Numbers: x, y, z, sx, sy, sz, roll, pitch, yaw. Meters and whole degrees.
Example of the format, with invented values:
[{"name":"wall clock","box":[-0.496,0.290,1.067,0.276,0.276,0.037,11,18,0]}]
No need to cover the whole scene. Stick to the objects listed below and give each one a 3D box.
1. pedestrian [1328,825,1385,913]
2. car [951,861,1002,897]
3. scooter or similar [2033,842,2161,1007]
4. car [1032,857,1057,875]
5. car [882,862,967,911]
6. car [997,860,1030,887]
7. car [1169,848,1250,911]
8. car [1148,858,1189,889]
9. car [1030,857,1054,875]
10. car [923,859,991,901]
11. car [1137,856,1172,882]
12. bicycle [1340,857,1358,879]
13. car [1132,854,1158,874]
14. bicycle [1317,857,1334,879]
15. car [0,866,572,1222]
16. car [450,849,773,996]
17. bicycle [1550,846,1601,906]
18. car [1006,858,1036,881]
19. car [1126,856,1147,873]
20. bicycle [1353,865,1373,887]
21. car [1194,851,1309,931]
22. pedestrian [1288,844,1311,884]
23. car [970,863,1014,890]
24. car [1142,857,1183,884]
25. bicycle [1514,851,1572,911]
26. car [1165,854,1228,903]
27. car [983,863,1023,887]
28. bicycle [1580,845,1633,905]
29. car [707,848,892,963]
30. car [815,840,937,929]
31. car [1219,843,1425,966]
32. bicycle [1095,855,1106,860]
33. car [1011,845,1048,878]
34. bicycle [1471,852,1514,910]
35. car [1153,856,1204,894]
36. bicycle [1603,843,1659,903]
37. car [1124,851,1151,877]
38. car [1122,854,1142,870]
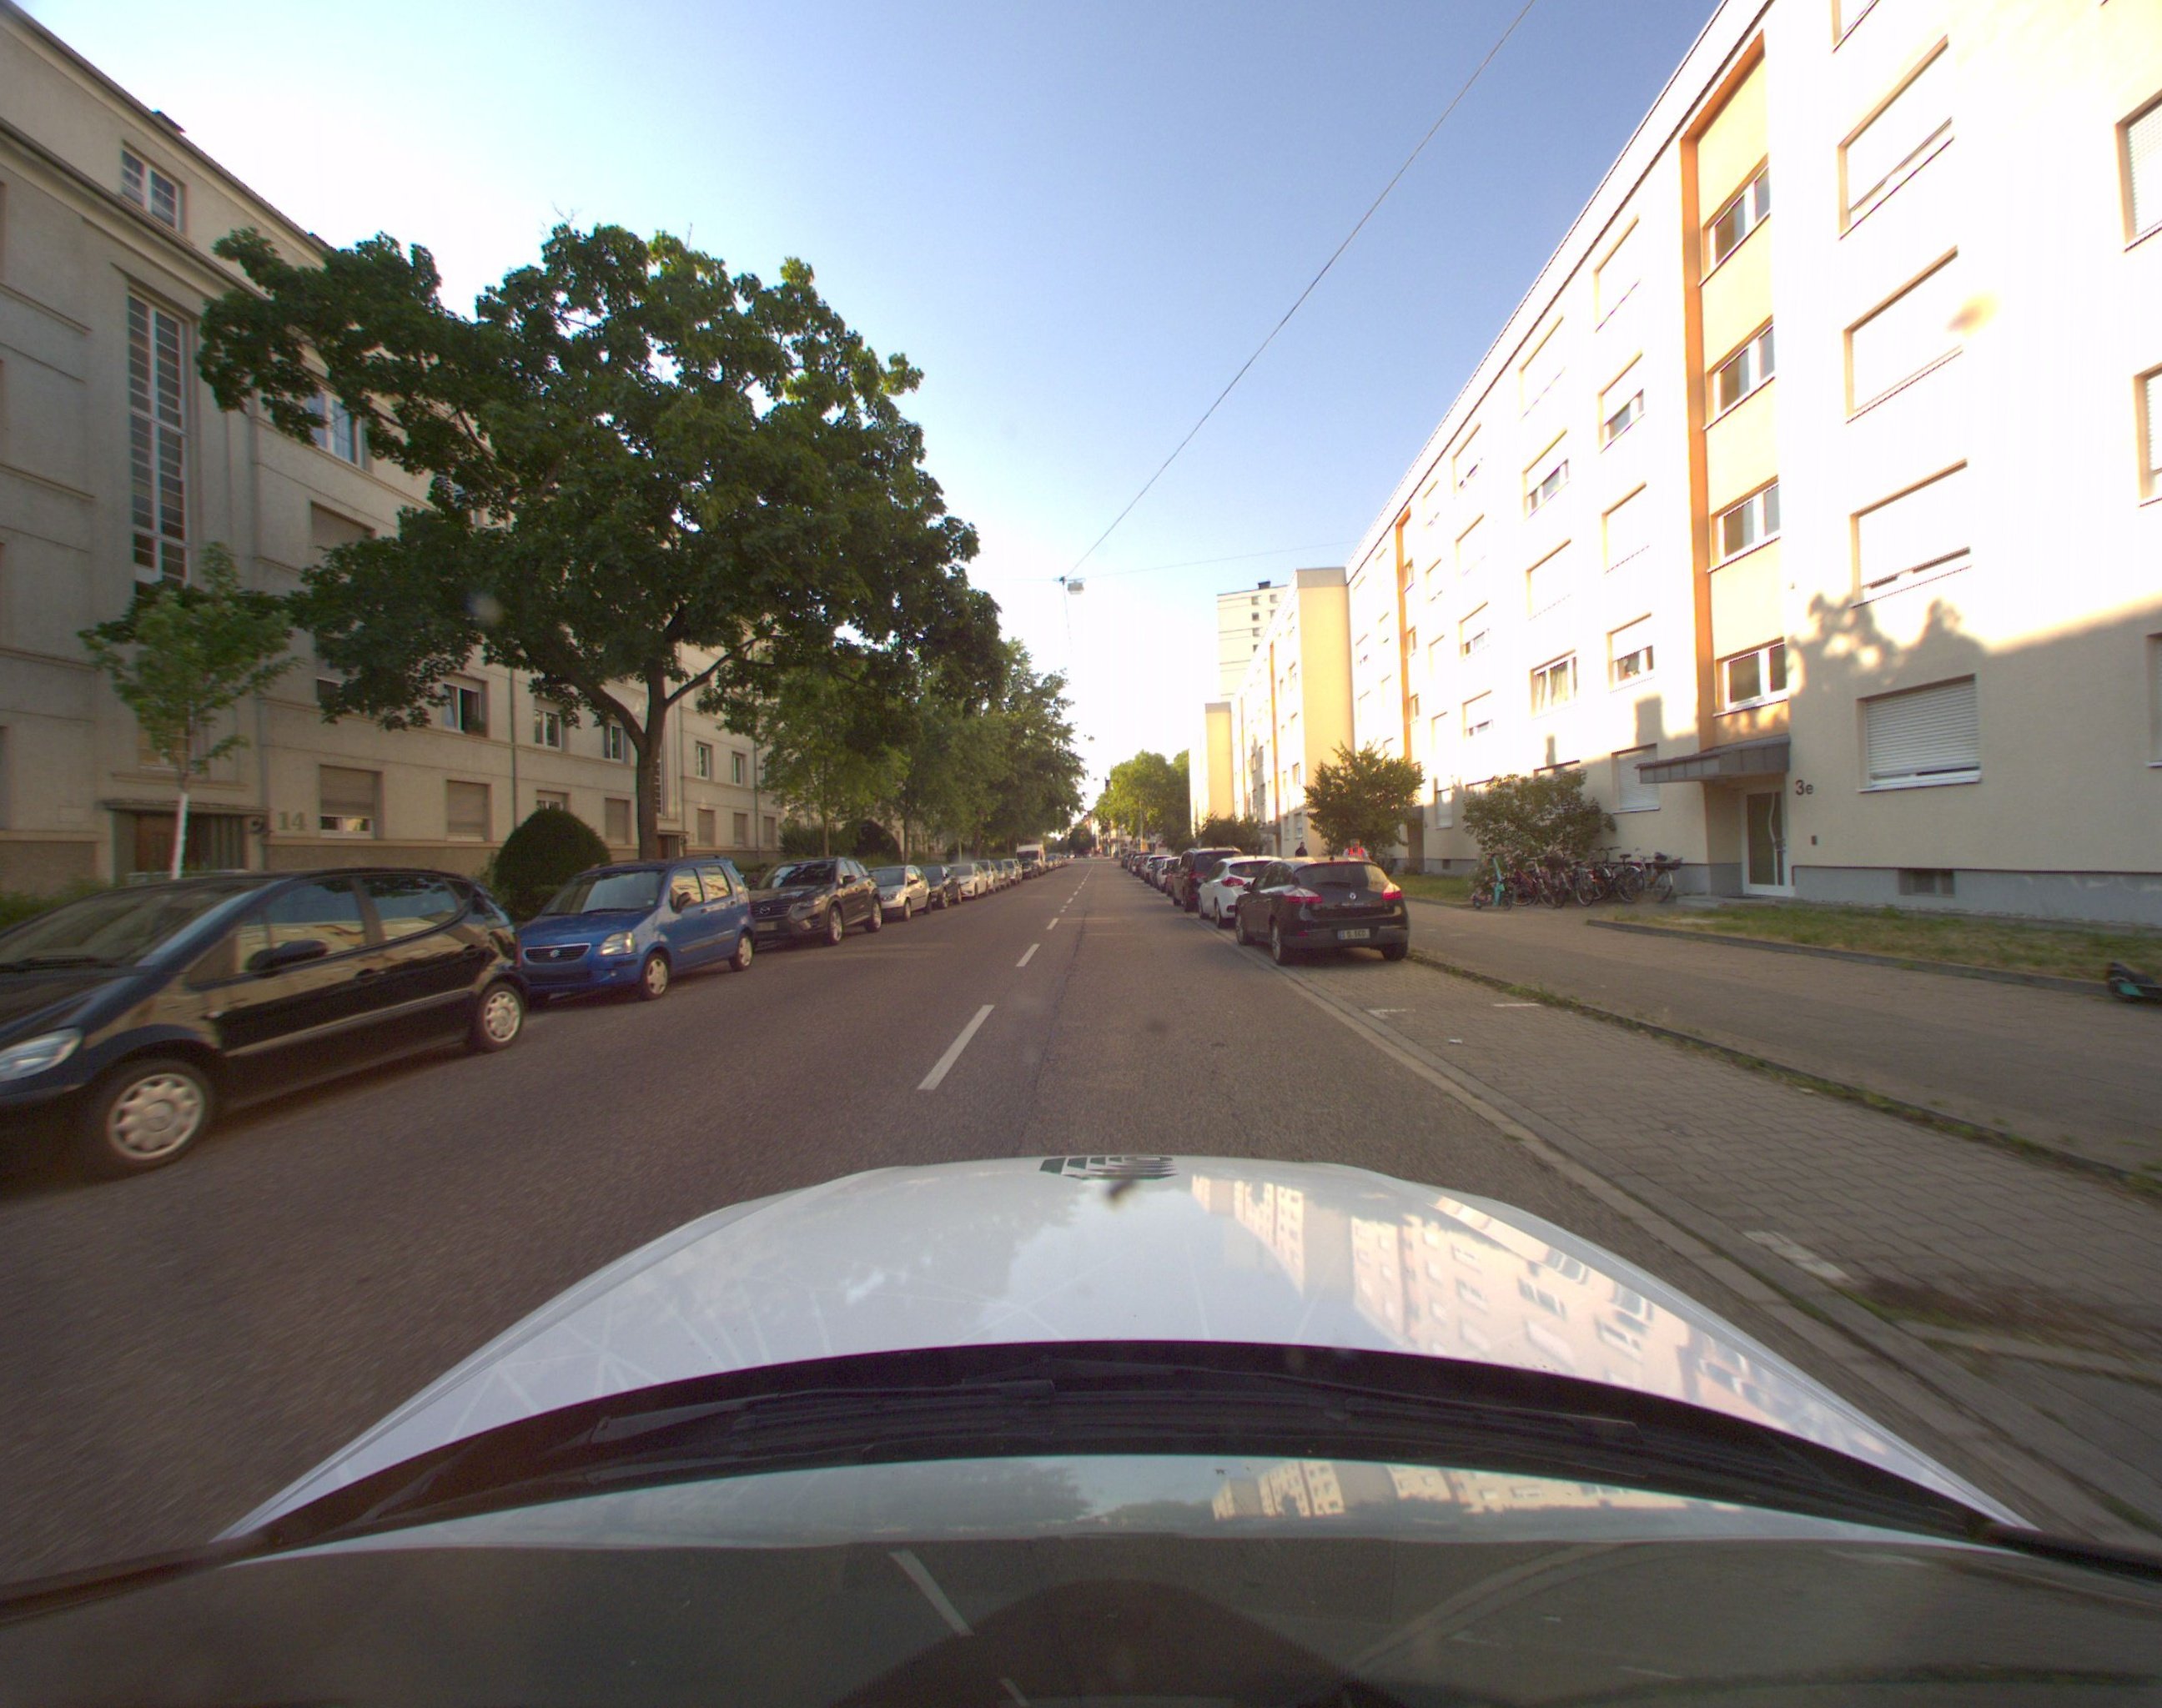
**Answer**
[{"name":"pedestrian","box":[6.155,0.335,18.254,0.885,1.890,1.279,0,-1,1]},{"name":"car","box":[-4.784,1.127,37.773,1.867,1.552,3.999,0,-1,0]},{"name":"scooter or similar","box":[7.983,0.515,6.072,0.332,1.192,1.241,0,-1,2]},{"name":"car","box":[-3.200,1.094,72.064,1.864,1.558,4.366,0,-1,1]},{"name":"car","box":[-5.068,1.017,27.045,1.867,1.434,4.802,-1,-1,0]},{"name":"car","box":[-4.327,1.236,52.424,1.701,1.574,3.262,2,-1,2]},{"name":"car","box":[3.651,0.713,23.835,1.765,1.678,4.647,0,-1,1]},{"name":"car","box":[4.327,0.962,40.780,1.655,1.438,4.314,0,-1,1]},{"name":"car","box":[-3.814,1.147,80.687,1.864,1.558,5.058,-6,0,1]},{"name":"car","box":[-4.821,1.001,32.270,1.998,1.552,4.470,0,-1,0]},{"name":"car","box":[4.733,0.982,52.944,1.955,1.605,4.280,0,-1,2]},{"name":"bicycle","box":[11.722,0.623,35.670,0.435,0.942,1.794,0,-1,7]},{"name":"car","box":[4.859,0.756,62.537,1.830,1.501,4.174,0,-1,3]},{"name":"bicycle","box":[10.736,0.620,35.794,0.435,0.942,1.794,0,-1,7]},{"name":"car","box":[-5.674,0.902,5.542,1.867,1.552,3.999,-2,-1,0]},{"name":"car","box":[-5.711,0.758,10.605,1.867,1.552,3.999,0,-1,0]},{"name":"bicycle","box":[10.309,0.453,17.015,0.332,1.192,1.241,0,-1,2]},{"name":"car","box":[-4.218,1.088,57.319,1.701,1.574,3.820,0,-1,2]},{"name":"car","box":[4.996,0.966,73.379,1.673,1.415,4.724,0,-1,1]},{"name":"bicycle","box":[12.305,0.958,35.572,0.435,0.942,1.794,0,-1,7]},{"name":"car","box":[3.688,0.781,18.261,1.765,1.508,4.001,-3,-1,1]},{"name":"pedestrian","box":[9.427,0.433,35.148,0.763,1.658,0.536,-4,-1,1]},{"name":"car","box":[-4.578,1.154,42.389,1.867,1.355,3.999,0,-1,0]},{"name":"car","box":[4.548,0.930,45.883,1.867,1.443,3.999,0,-1,0]},{"name":"bicycle","box":[9.592,0.550,16.951,0.333,1.192,1.236,1,-1,-10]},{"name":"car","box":[4.050,0.837,29.066,1.765,1.617,4.001,0,-1,1]},{"name":"car","box":[-4.475,1.198,47.301,1.867,1.355,4.652,0,-1,0]},{"name":"bicycle","box":[10.971,0.435,17.034,0.332,1.192,1.241,0,-1,2]},{"name":"car","box":[-5.188,0.888,15.788,1.868,1.759,4.688,-4,-1,0]},{"name":"car","box":[-5.297,0.770,21.622,1.986,2.014,4.001,-4,-1,2]},{"name":"car","box":[3.496,0.695,12.811,1.793,1.507,4.620,-2,-1,0]},{"name":"bicycle","box":[5.497,0.993,229.672,2.799,1.203,0.509,0,-1,-6]},{"name":"car","box":[-4.005,0.591,64.212,2.349,2.446,6.166,0,-1,2]},{"name":"bicycle","box":[8.823,0.577,17.496,0.332,1.192,1.241,0,-1,2]},{"name":"car","box":[4.192,0.910,35.561,1.765,1.454,4.001,-4,-1,1]},{"name":"bicycle","box":[11.347,0.395,16.828,0.332,1.192,1.241,0,-1,2]},{"name":"car","box":[3.969,0.722,57.868,1.829,1.772,3.981,0,-1,3]},{"name":"car","box":[5.349,0.832,85.873,1.891,1.651,4.343,-2,0,1]}]
